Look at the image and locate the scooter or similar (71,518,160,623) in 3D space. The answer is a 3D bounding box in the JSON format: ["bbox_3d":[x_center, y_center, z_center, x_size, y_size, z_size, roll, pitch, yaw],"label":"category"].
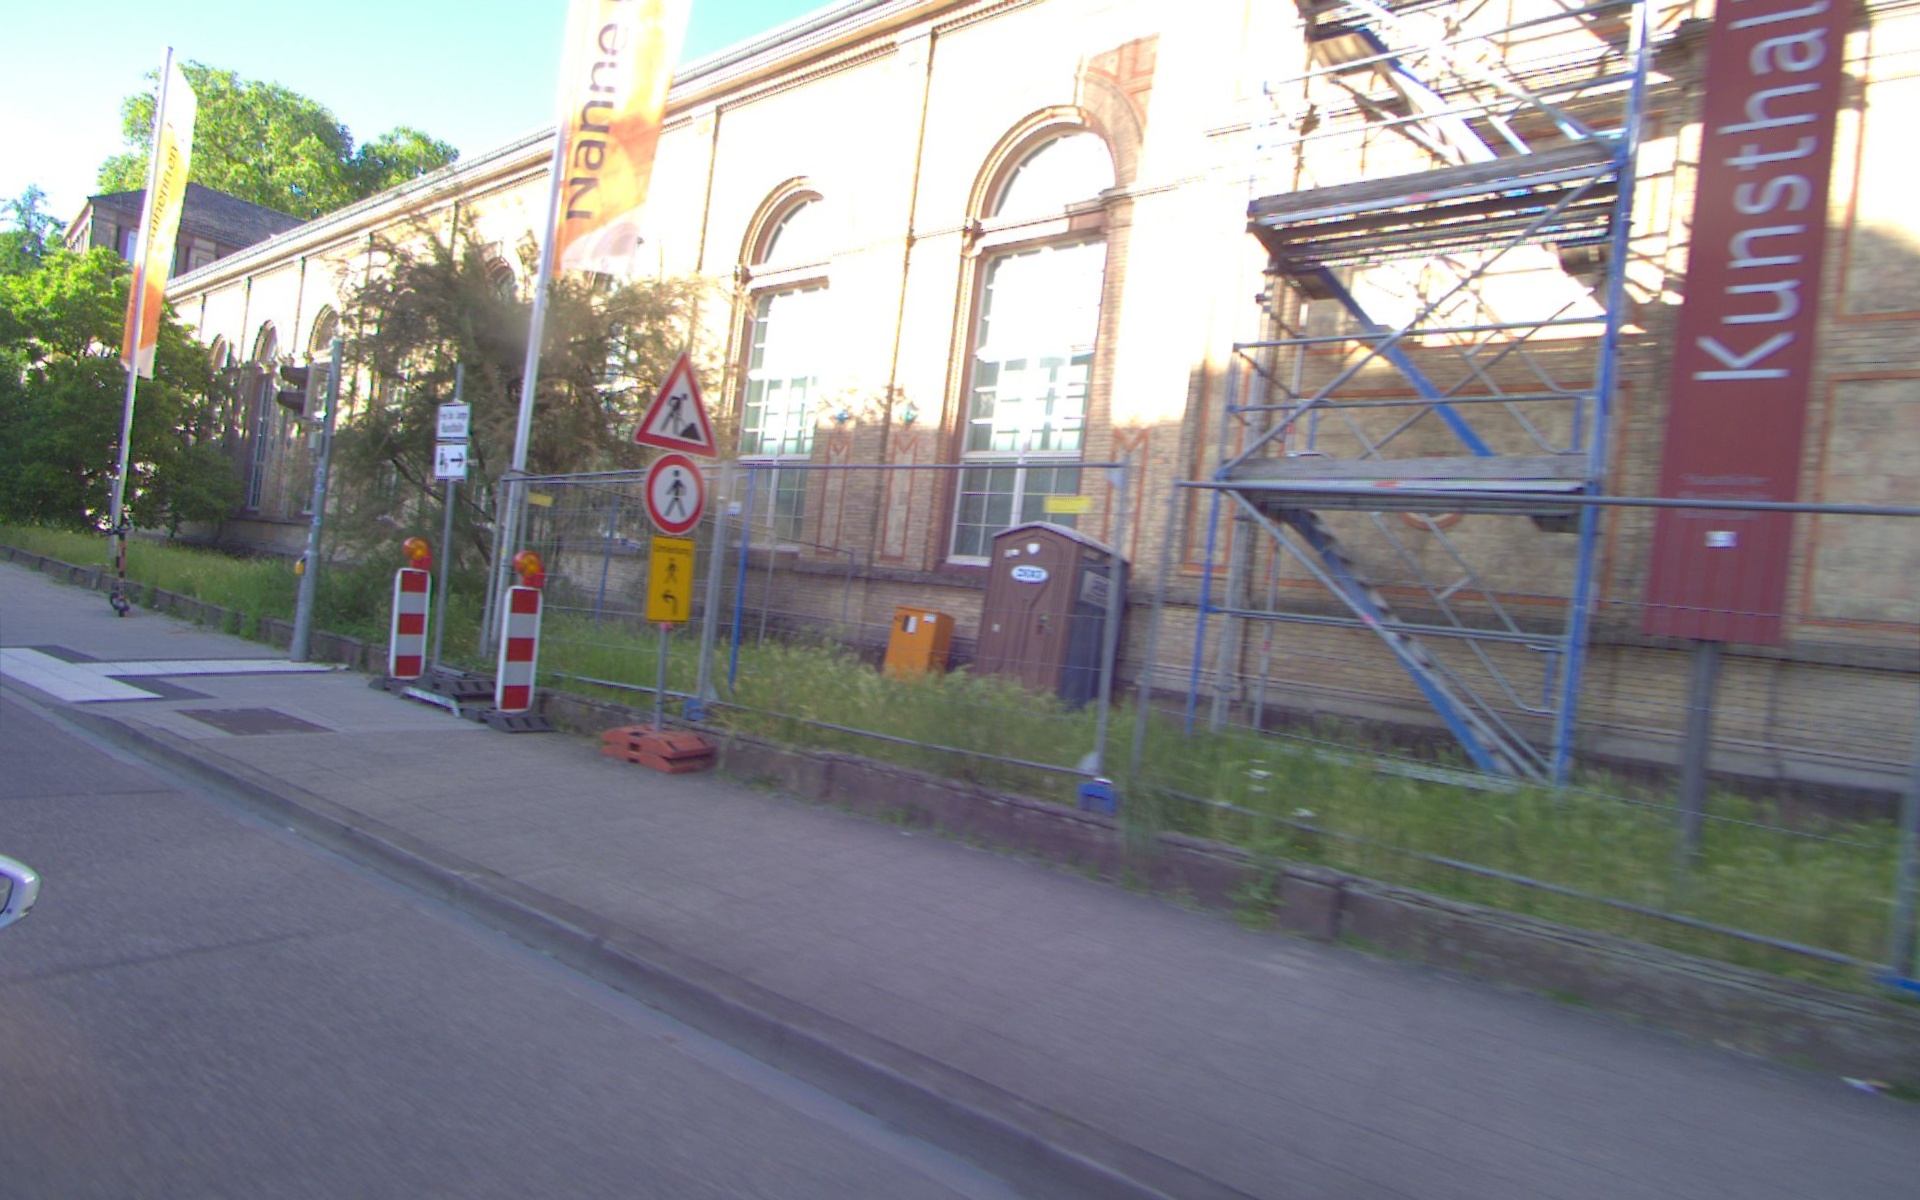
[{"bbox_3d":[-12.185,-0.443,14.496,1.805,1.325,0.555,7,0,39],"label":"scooter or similar"}]
